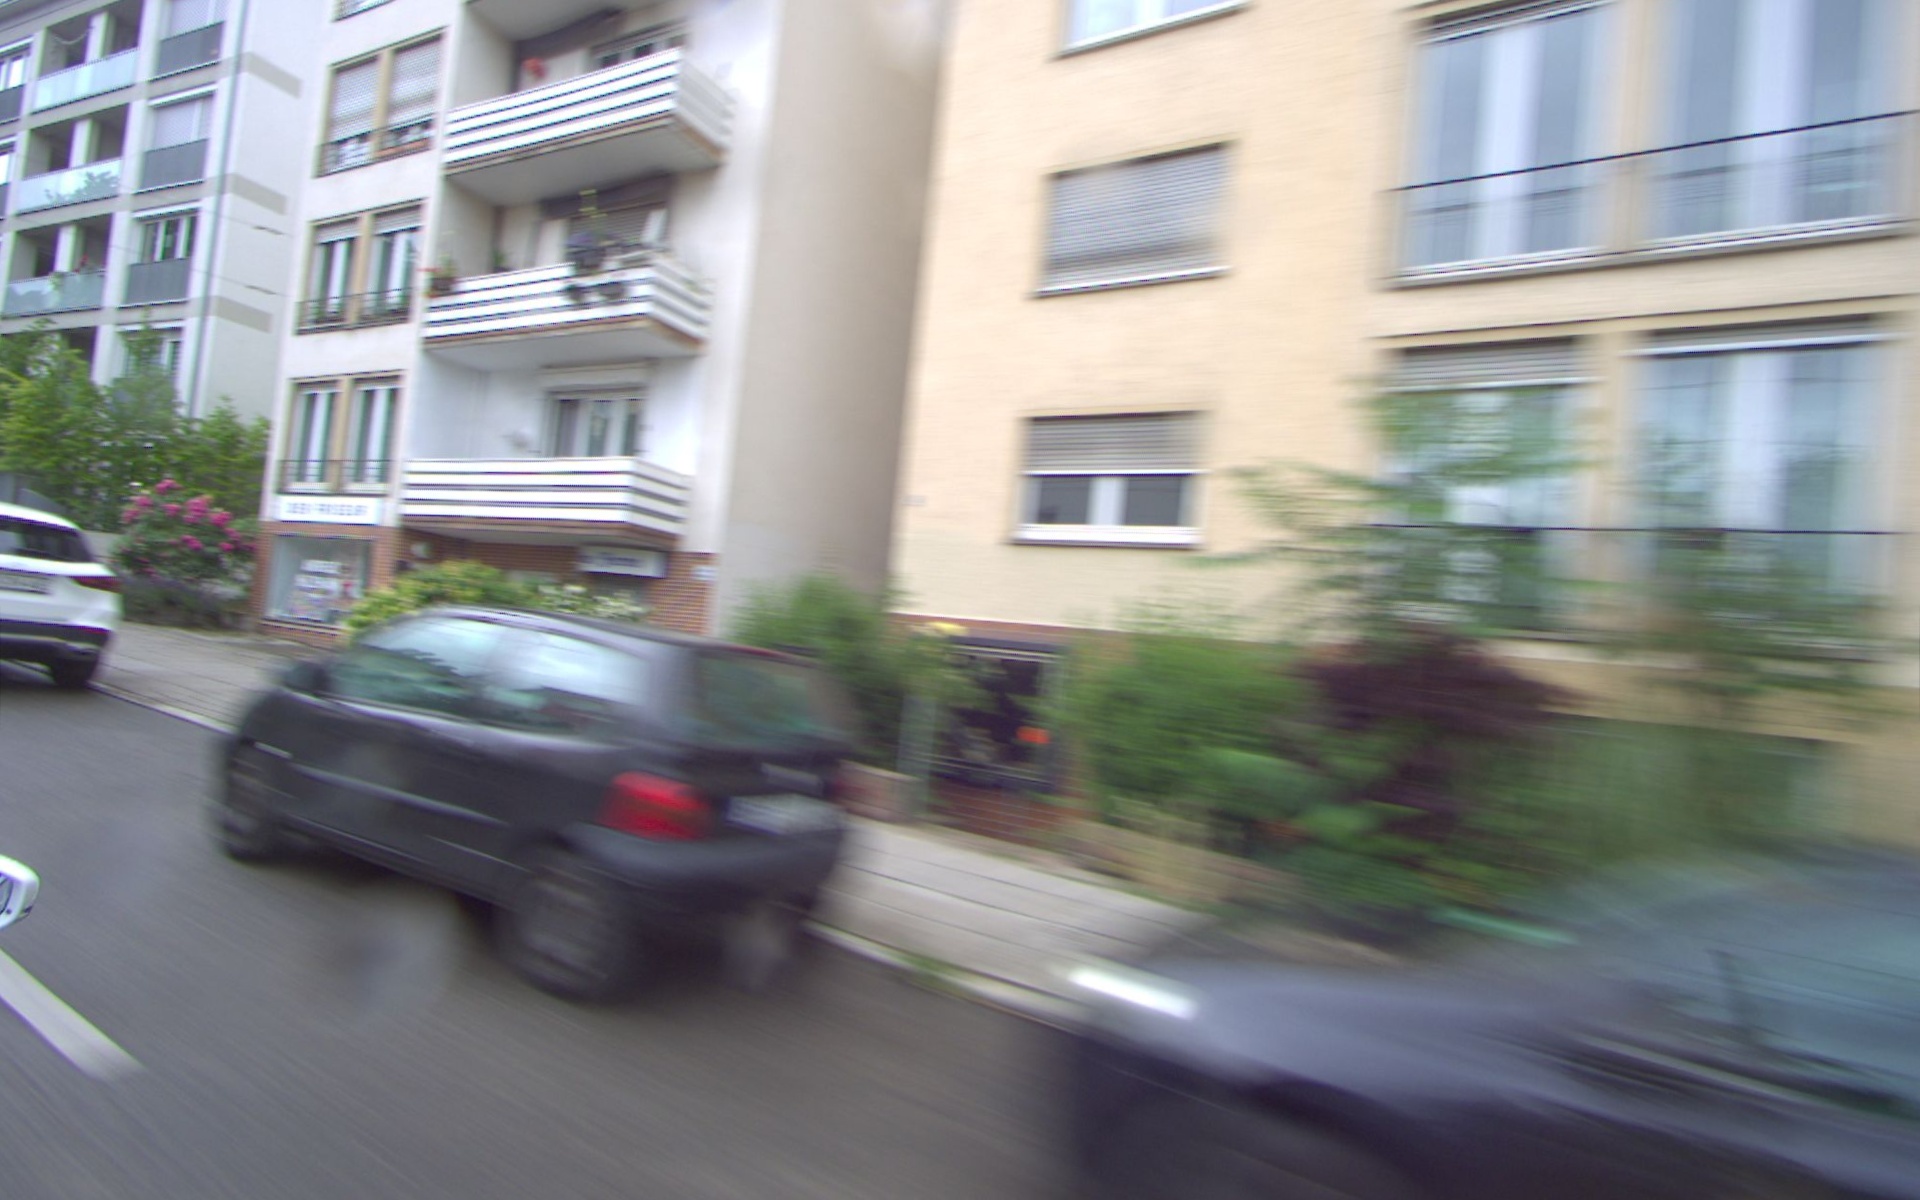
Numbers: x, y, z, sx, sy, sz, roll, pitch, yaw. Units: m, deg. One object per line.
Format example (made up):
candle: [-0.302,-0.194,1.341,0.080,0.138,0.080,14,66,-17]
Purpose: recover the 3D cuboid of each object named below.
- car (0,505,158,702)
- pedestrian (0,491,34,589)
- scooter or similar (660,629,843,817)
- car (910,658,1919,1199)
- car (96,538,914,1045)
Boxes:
car: [-9.833,-0.208,9.506,4.174,1.589,1.845,7,-4,28]
pedestrian: [-15.999,-1.022,16.630,0.912,1.562,0.571,7,1,21]
scooter or similar: [-1.631,0.933,7.886,1.176,1.250,0.470,8,1,15]
car: [2.079,1.181,2.278,3.997,1.452,1.688,7,-3,32]
car: [-2.520,0.695,5.252,4.230,1.452,1.561,7,-3,30]
